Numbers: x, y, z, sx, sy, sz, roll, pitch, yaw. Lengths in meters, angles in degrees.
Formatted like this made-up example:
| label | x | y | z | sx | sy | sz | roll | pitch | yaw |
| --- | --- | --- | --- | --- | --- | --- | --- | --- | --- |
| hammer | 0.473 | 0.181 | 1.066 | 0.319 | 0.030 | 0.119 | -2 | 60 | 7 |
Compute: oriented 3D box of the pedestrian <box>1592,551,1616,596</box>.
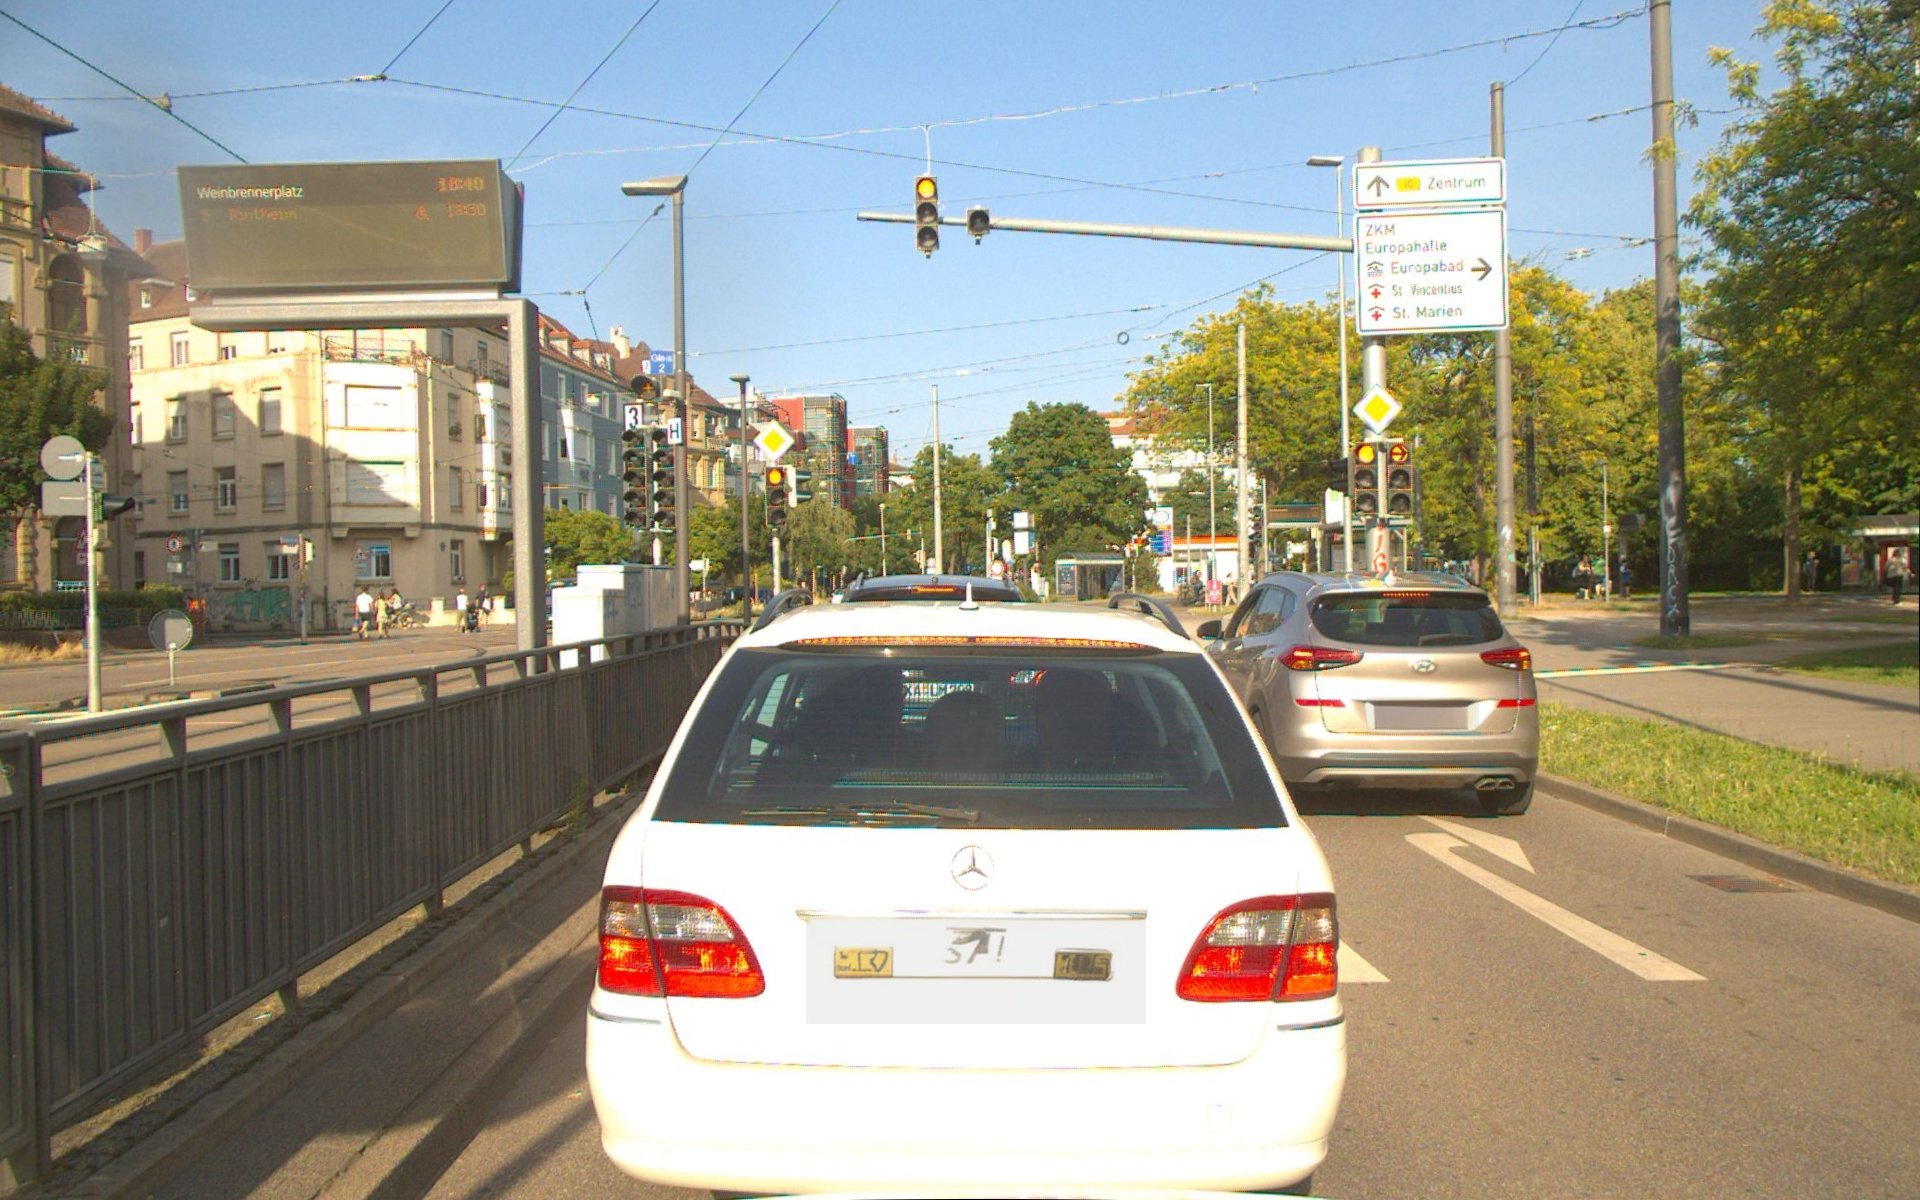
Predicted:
| label | x | y | z | sx | sy | sz | roll | pitch | yaw |
| --- | --- | --- | --- | --- | --- | --- | --- | --- | --- |
| pedestrian | 24.513 | -1.022 | 62.942 | 0.628 | 1.694 | 0.690 | -1 | 0 | -1 |

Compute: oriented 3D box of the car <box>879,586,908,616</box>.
| label | x | y | z | sx | sy | sz | roll | pitch | yaw |
| --- | --- | --- | --- | --- | --- | --- | --- | --- | --- |
| car | -5.379 | 0.034 | 134.304 | 2.132 | 2.278 | 5.253 | -1 | 1 | 0 |

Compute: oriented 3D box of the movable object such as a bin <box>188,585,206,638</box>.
| label | x | y | z | sx | sy | sz | roll | pitch | yaw |
| --- | --- | --- | --- | --- | --- | --- | --- | --- | --- |
| movable object such as a bin | -25.617 | 0.389 | 55.525 | 0.261 | 1.739 | 2.357 | -2 | 1 | -31 |

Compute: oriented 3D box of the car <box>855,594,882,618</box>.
| label | x | y | z | sx | sy | sz | roll | pitch | yaw |
| --- | --- | --- | --- | --- | --- | --- | --- | --- | --- |
| car | -6.518 | 0.399 | 118.492 | 1.642 | 1.552 | 4.125 | -1 | 2 | 0 |

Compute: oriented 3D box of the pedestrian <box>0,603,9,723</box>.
| label | x | y | z | sx | sy | sz | roll | pitch | yaw |
| --- | --- | --- | --- | --- | --- | --- | --- | --- | --- |
| pedestrian | -13.223 | 0.859 | 22.125 | 0.578 | 1.617 | 0.715 | -1 | 0 | -5 |

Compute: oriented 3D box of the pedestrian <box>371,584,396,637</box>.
| label | x | y | z | sx | sy | sz | roll | pitch | yaw |
| --- | --- | --- | --- | --- | --- | --- | --- | --- | --- |
| pedestrian | -20.986 | 0.380 | 60.218 | 0.661 | 1.880 | 0.649 | -1 | 0 | -3 |

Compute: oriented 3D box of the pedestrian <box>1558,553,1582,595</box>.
| label | x | y | z | sx | sy | sz | roll | pitch | yaw |
| --- | --- | --- | --- | --- | --- | --- | --- | --- | --- |
| pedestrian | 23.958 | -1.027 | 64.954 | 0.628 | 1.638 | 0.690 | -1 | 0 | -1 |

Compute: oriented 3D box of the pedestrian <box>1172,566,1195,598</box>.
| label | x | y | z | sx | sy | sz | roll | pitch | yaw |
| --- | --- | --- | --- | --- | --- | --- | --- | --- | --- |
| pedestrian | 11.600 | -0.940 | 85.864 | 0.985 | 1.619 | 0.866 | -1 | 0 | 18 |

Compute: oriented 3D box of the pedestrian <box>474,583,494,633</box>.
| label | x | y | z | sx | sy | sz | roll | pitch | yaw |
| --- | --- | --- | --- | --- | --- | --- | --- | --- | --- |
| pedestrian | -18.717 | 0.296 | 65.063 | 0.573 | 1.913 | 0.626 | -1 | 3 | -3 |

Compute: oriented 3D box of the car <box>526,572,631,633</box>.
| label | x | y | z | sx | sy | sz | roll | pitch | yaw |
| --- | --- | --- | --- | --- | --- | --- | --- | --- | --- |
| car | -13.730 | 0.063 | 59.814 | 2.100 | 2.049 | 5.390 | -1 | 0 | 5 |

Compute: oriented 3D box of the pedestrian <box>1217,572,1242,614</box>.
| label | x | y | z | sx | sy | sz | roll | pitch | yaw |
| --- | --- | --- | --- | --- | --- | --- | --- | --- | --- |
| pedestrian | 13.332 | -0.365 | 81.741 | 0.976 | 2.049 | 0.827 | -1 | 0 | 27 |

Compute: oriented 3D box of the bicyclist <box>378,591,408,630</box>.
| label | x | y | z | sx | sy | sz | roll | pitch | yaw |
| --- | --- | --- | --- | --- | --- | --- | --- | --- | --- |
| bicyclist | -23.928 | 0.450 | 69.840 | 1.020 | 1.597 | 0.661 | -1 | 0 | -6 |

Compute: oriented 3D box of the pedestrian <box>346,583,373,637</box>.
| label | x | y | z | sx | sy | sz | roll | pitch | yaw |
| --- | --- | --- | --- | --- | --- | --- | --- | --- | --- |
| pedestrian | -21.844 | 0.354 | 60.166 | 0.644 | 1.913 | 0.627 | -1 | 0 | 14 |

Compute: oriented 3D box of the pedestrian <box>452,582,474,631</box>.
| label | x | y | z | sx | sy | sz | roll | pitch | yaw |
| --- | --- | --- | --- | --- | --- | --- | --- | --- | --- |
| pedestrian | -19.481 | 0.256 | 64.844 | 0.572 | 1.913 | 0.627 | -1 | 0 | 3 |

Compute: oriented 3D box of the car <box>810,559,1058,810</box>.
| label | x | y | z | sx | sy | sz | roll | pitch | yaw |
| --- | --- | --- | --- | --- | --- | --- | --- | --- | --- |
| car | -0.196 | 0.534 | 12.649 | 1.608 | 1.628 | 3.814 | 0 | 0 | -1 |

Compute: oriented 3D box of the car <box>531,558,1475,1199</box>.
| label | x | y | z | sx | sy | sz | roll | pitch | yaw |
| --- | --- | --- | --- | --- | --- | --- | --- | --- | --- |
| car | 0.059 | 0.673 | 5.065 | 1.798 | 1.527 | 3.814 | 0 | 0 | -1 |

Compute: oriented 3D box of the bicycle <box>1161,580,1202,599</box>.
| label | x | y | z | sx | sy | sz | roll | pitch | yaw |
| --- | --- | --- | --- | --- | --- | --- | --- | --- | --- |
| bicycle | 11.506 | -0.551 | 85.894 | 1.975 | 0.963 | 0.880 | -1 | 0 | 19 |

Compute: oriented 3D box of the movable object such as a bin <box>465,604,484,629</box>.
| label | x | y | z | sx | sy | sz | roll | pitch | yaw |
| --- | --- | --- | --- | --- | --- | --- | --- | --- | --- |
| movable object such as a bin | -19.300 | 0.645 | 65.756 | 0.571 | 0.963 | 0.663 | -1 | 0 | -2 |

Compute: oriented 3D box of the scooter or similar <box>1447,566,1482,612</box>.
| label | x | y | z | sx | sy | sz | roll | pitch | yaw |
| --- | --- | --- | --- | --- | --- | --- | --- | --- | --- |
| scooter or similar | 13.929 | -0.305 | 45.668 | 0.345 | 1.253 | 1.131 | -1 | 0 | -15 |

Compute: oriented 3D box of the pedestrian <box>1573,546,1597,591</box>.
| label | x | y | z | sx | sy | sz | roll | pitch | yaw |
| --- | --- | --- | --- | --- | --- | --- | --- | --- | --- |
| pedestrian | 24.241 | -1.221 | 64.111 | 0.628 | 1.694 | 0.690 | -1 | 0 | -1 |

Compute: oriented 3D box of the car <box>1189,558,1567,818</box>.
| label | x | y | z | sx | sy | sz | roll | pitch | yaw |
| --- | --- | --- | --- | --- | --- | --- | --- | --- | --- |
| car | 2.889 | 0.540 | 12.290 | 1.798 | 1.628 | 3.814 | 0 | 0 | -1 |

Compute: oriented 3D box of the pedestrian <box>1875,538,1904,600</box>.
| label | x | y | z | sx | sy | sz | roll | pitch | yaw |
| --- | --- | --- | --- | --- | --- | --- | --- | --- | --- |
| pedestrian | 28.604 | -0.951 | 50.899 | 0.454 | 1.900 | 0.602 | 1 | -1 | -22 |

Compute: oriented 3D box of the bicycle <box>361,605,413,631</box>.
| label | x | y | z | sx | sy | sz | roll | pitch | yaw |
| --- | --- | --- | --- | --- | --- | --- | --- | --- | --- |
| bicycle | -24.183 | 0.751 | 69.813 | 1.952 | 1.024 | 0.741 | -2 | 0 | -6 |
